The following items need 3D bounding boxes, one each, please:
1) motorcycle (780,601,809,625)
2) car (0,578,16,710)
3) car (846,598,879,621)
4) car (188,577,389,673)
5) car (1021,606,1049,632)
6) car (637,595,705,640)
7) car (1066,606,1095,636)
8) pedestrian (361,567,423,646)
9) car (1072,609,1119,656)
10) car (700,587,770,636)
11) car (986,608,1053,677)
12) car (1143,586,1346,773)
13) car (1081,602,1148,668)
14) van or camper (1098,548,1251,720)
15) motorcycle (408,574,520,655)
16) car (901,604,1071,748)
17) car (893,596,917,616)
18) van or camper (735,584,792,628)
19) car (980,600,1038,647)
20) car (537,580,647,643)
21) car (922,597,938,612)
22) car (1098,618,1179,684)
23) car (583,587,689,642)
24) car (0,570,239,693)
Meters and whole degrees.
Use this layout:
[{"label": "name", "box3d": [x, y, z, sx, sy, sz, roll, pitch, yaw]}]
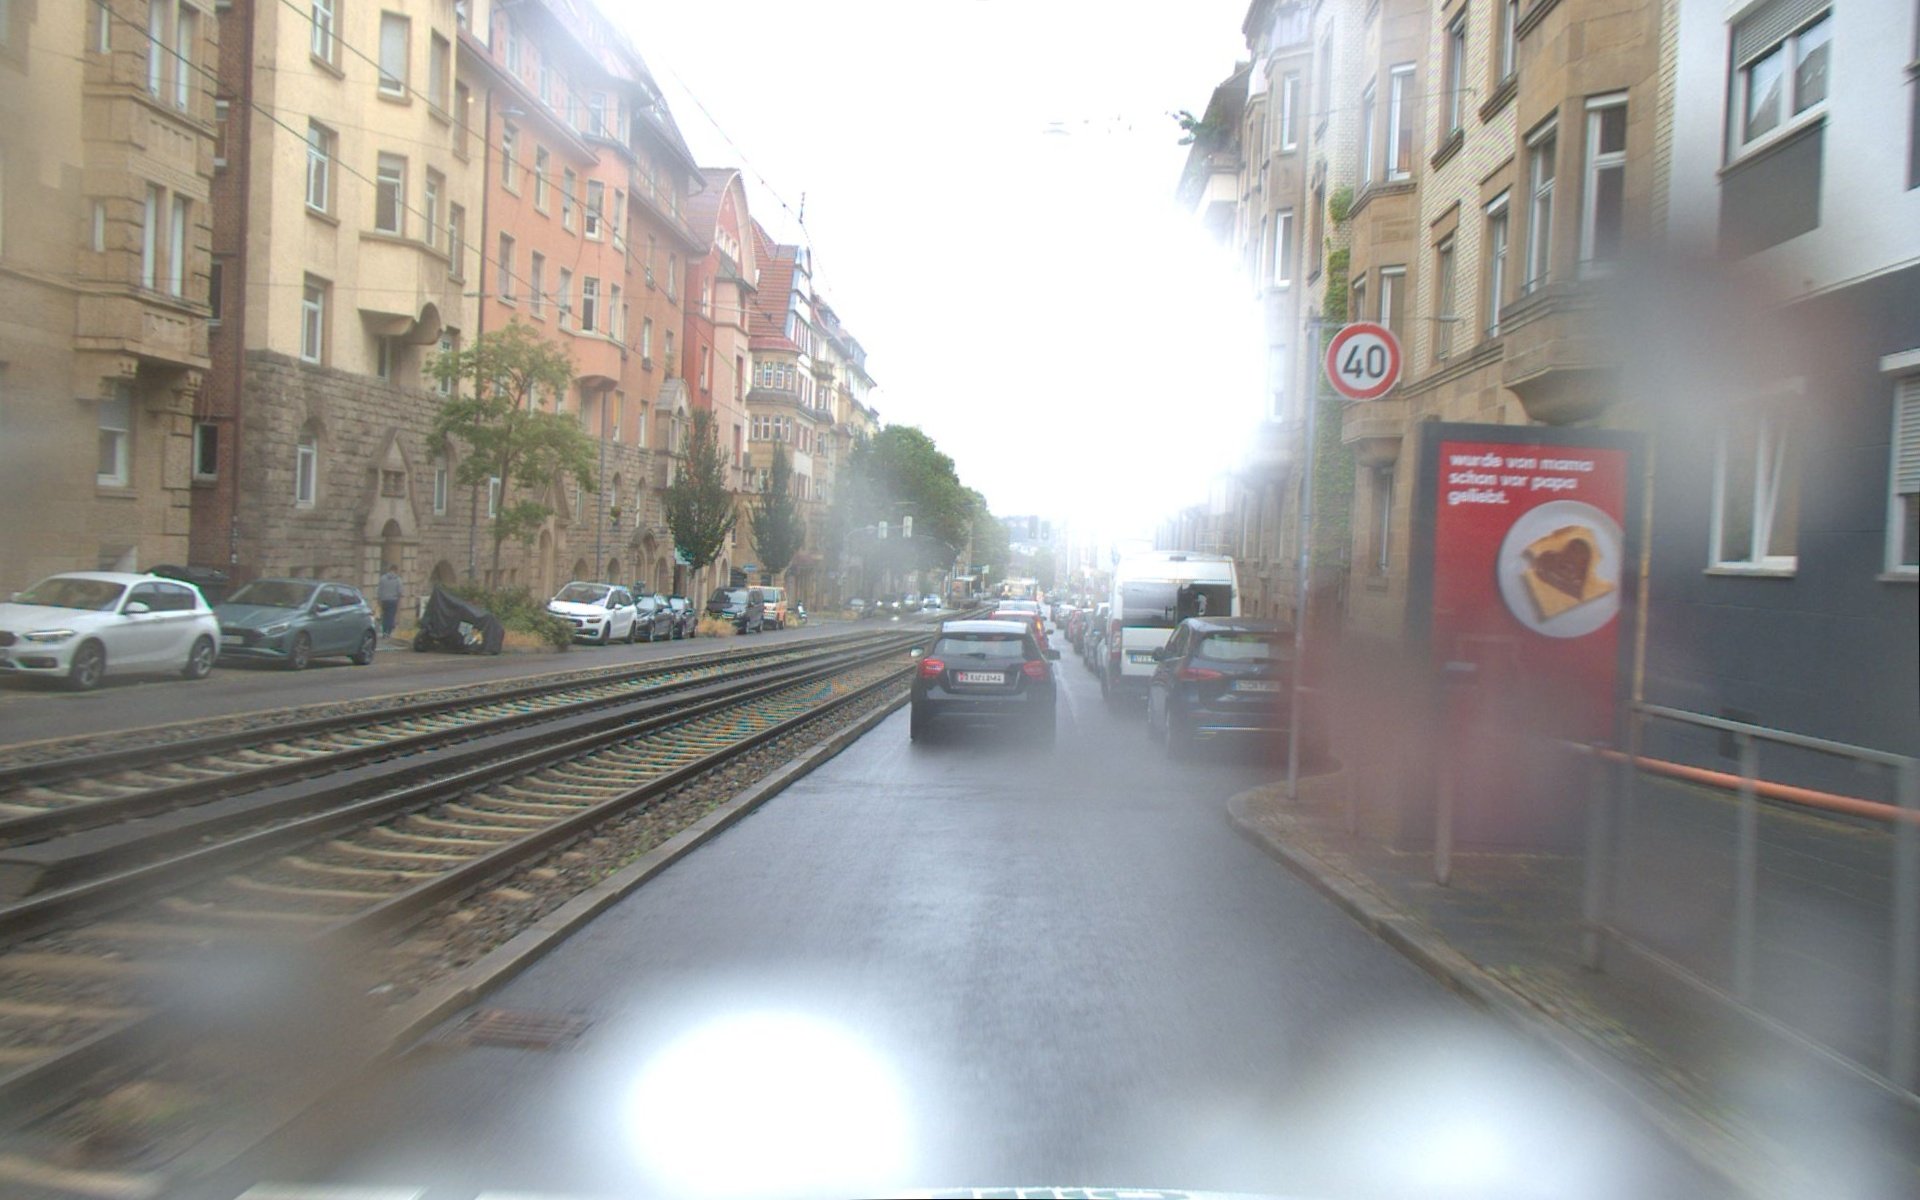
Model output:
[{"label": "motorcycle", "box3d": [-8.783, 0.693, 87.869, 1.411, 1.154, 0.618, 3, -1, 33]}, {"label": "car", "box3d": [-11.973, 0.433, 17.240, 1.728, 1.512, 4.001, 2, -1, 3]}, {"label": "car", "box3d": [-7.153, 0.678, 121.427, 1.952, 1.544, 4.001, 3, 0, 3]}, {"label": "car", "box3d": [-11.296, 0.404, 28.142, 1.529, 1.463, 4.147, 2, 0, 2]}, {"label": "car", "box3d": [5.157, 1.328, 114.097, 1.863, 1.621, 4.001, 2, -1, 3]}, {"label": "car", "box3d": [-10.079, 0.623, 57.897, 1.608, 1.422, 3.883, 3, -1, 0]}, {"label": "car", "box3d": [8.497, 1.510, 116.865, 1.859, 2.063, 4.177, 2, -1, 3]}, {"label": "pedestrian", "box3d": [-13.380, 0.153, 38.977, 0.986, 1.784, 0.924, 4, -1, 3]}, {"label": "car", "box3d": [5.172, 1.213, 63.212, 1.675, 1.657, 4.002, 3, 0, 5]}, {"label": "car", "box3d": [-9.432, 0.500, 69.685, 1.952, 1.935, 4.700, 2, -1, 3]}, {"label": "car", "box3d": [1.496, 1.046, 40.778, 1.504, 1.536, 4.001, 3, -1, 3]}, {"label": "car", "box3d": [3.200, 0.843, 19.432, 1.732, 1.839, 4.483, 3, 0, 3]}, {"label": "car", "box3d": [4.476, 0.985, 48.452, 1.737, 1.807, 4.362, 2, 0, 3]}, {"label": "van or camper", "box3d": [3.485, 0.558, 27.925, 2.021, 2.512, 6.120, 2, -1, 3]}, {"label": "motorcycle", "box3d": [-10.907, 0.323, 36.483, 2.221, 1.671, 1.288, 2, 0, -14]}, {"label": "car", "box3d": [0.354, 0.898, 20.834, 1.906, 1.592, 3.643, 2, -1, 2]}, {"label": "car", "box3d": [-5.280, 0.554, 159.598, 1.952, 1.825, 4.001, 3, 0, 3]}, {"label": "van or camper", "box3d": [-9.128, 0.267, 77.229, 1.952, 1.934, 4.699, 2, 0, 1]}, {"label": "car", "box3d": [1.844, 0.868, 63.388, 1.883, 1.684, 3.998, 2, 0, -2]}, {"label": "car", "box3d": [-10.384, 0.324, 46.939, 1.747, 1.617, 4.353, 2, 0, 5]}, {"label": "car", "box3d": [-3.528, 0.528, 193.139, 1.759, 1.575, 3.999, 2, 0, -1]}, {"label": "car", "box3d": [4.218, 1.182, 39.551, 1.641, 1.436, 4.001, 1, 0, 2]}, {"label": "car", "box3d": [-10.188, 0.454, 52.467, 1.952, 1.535, 4.977, 4, 0, 4]}, {"label": "car", "box3d": [-11.582, 0.385, 22.198, 1.632, 1.451, 4.264, 2, 0, 4]}]
